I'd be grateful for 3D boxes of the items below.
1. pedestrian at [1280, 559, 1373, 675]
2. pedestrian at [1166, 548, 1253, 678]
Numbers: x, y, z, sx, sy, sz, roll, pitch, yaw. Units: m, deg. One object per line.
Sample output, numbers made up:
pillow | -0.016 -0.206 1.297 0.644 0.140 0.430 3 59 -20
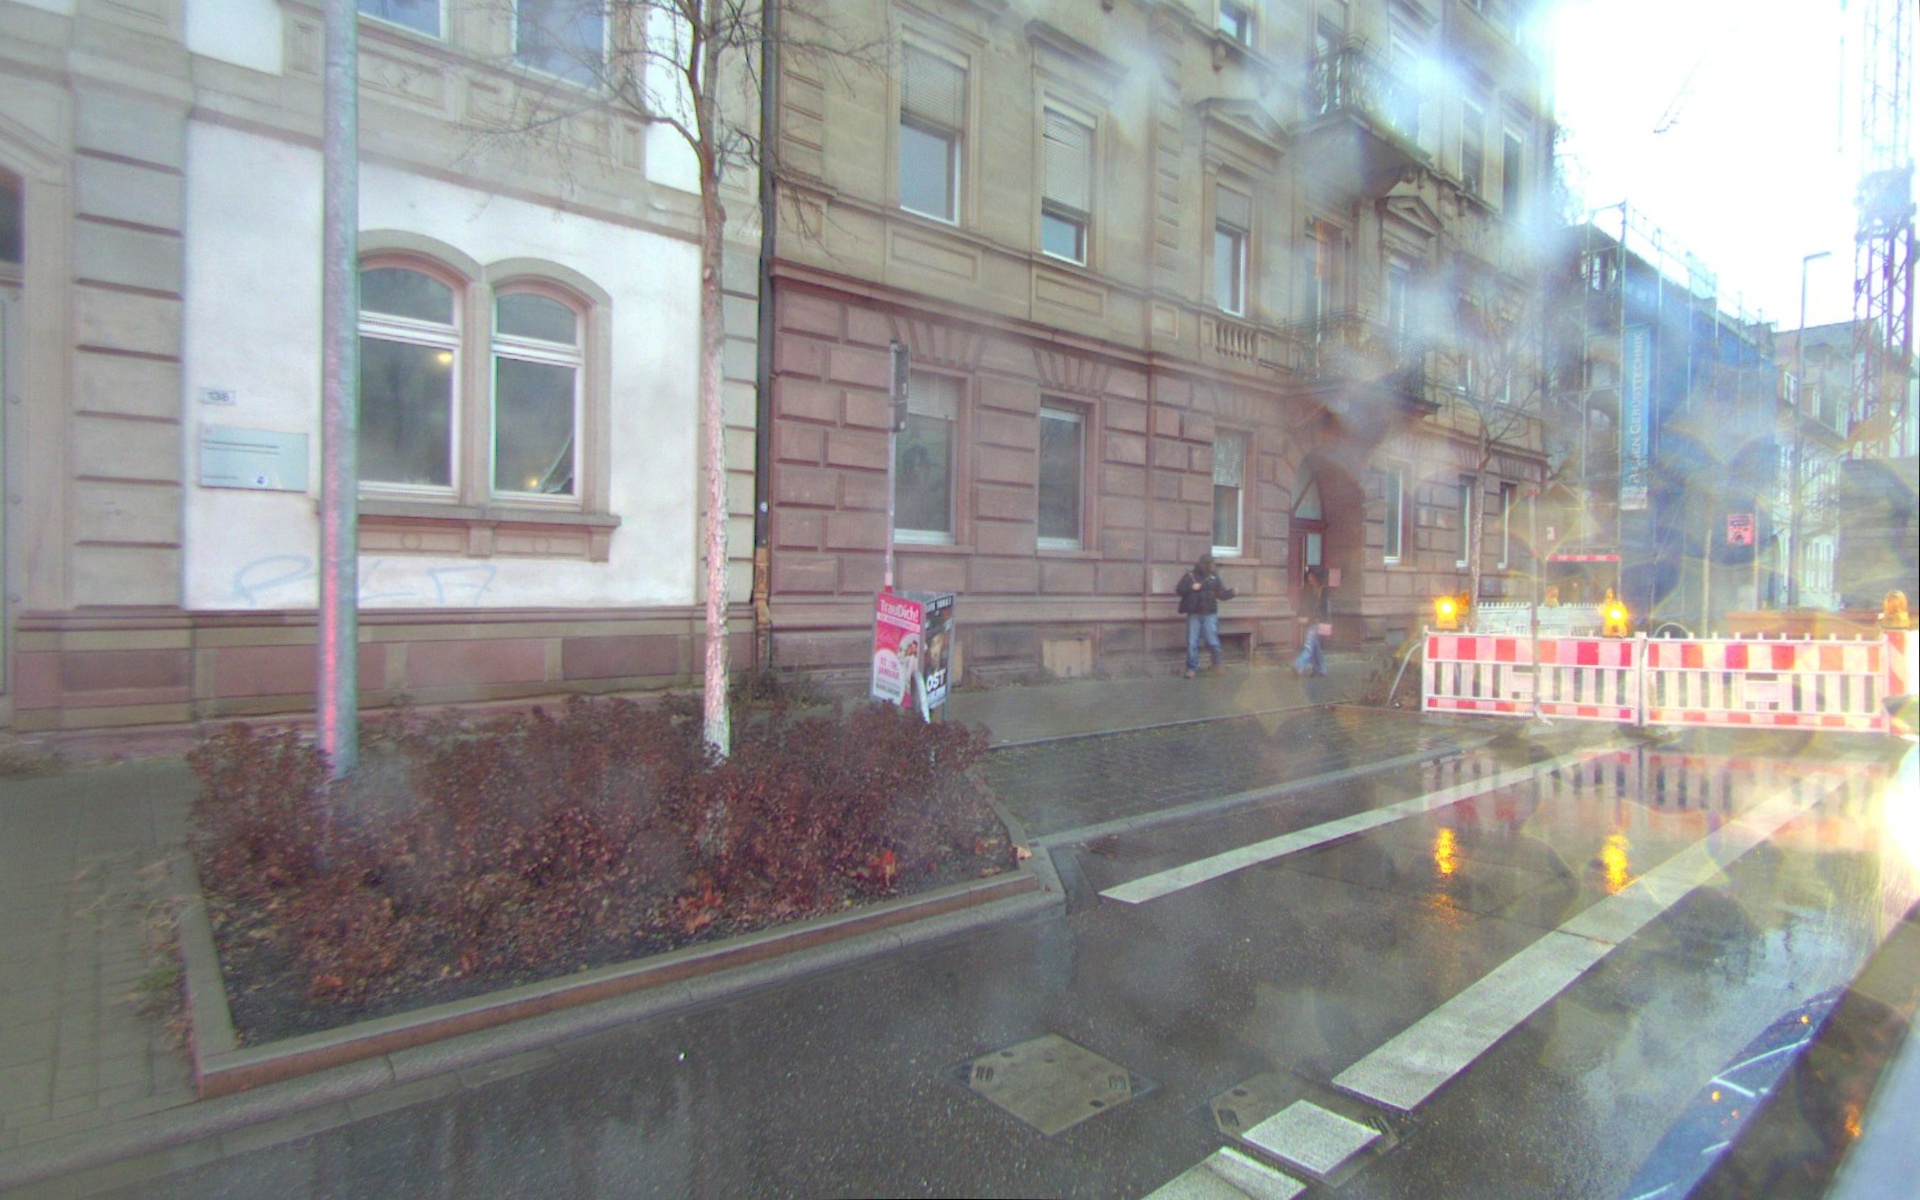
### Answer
pedestrian | 5.168 0.211 14.287 0.913 1.564 0.870 0 2 -40
pedestrian | 3.393 0.151 13.775 0.694 1.693 0.871 0 1 -37
